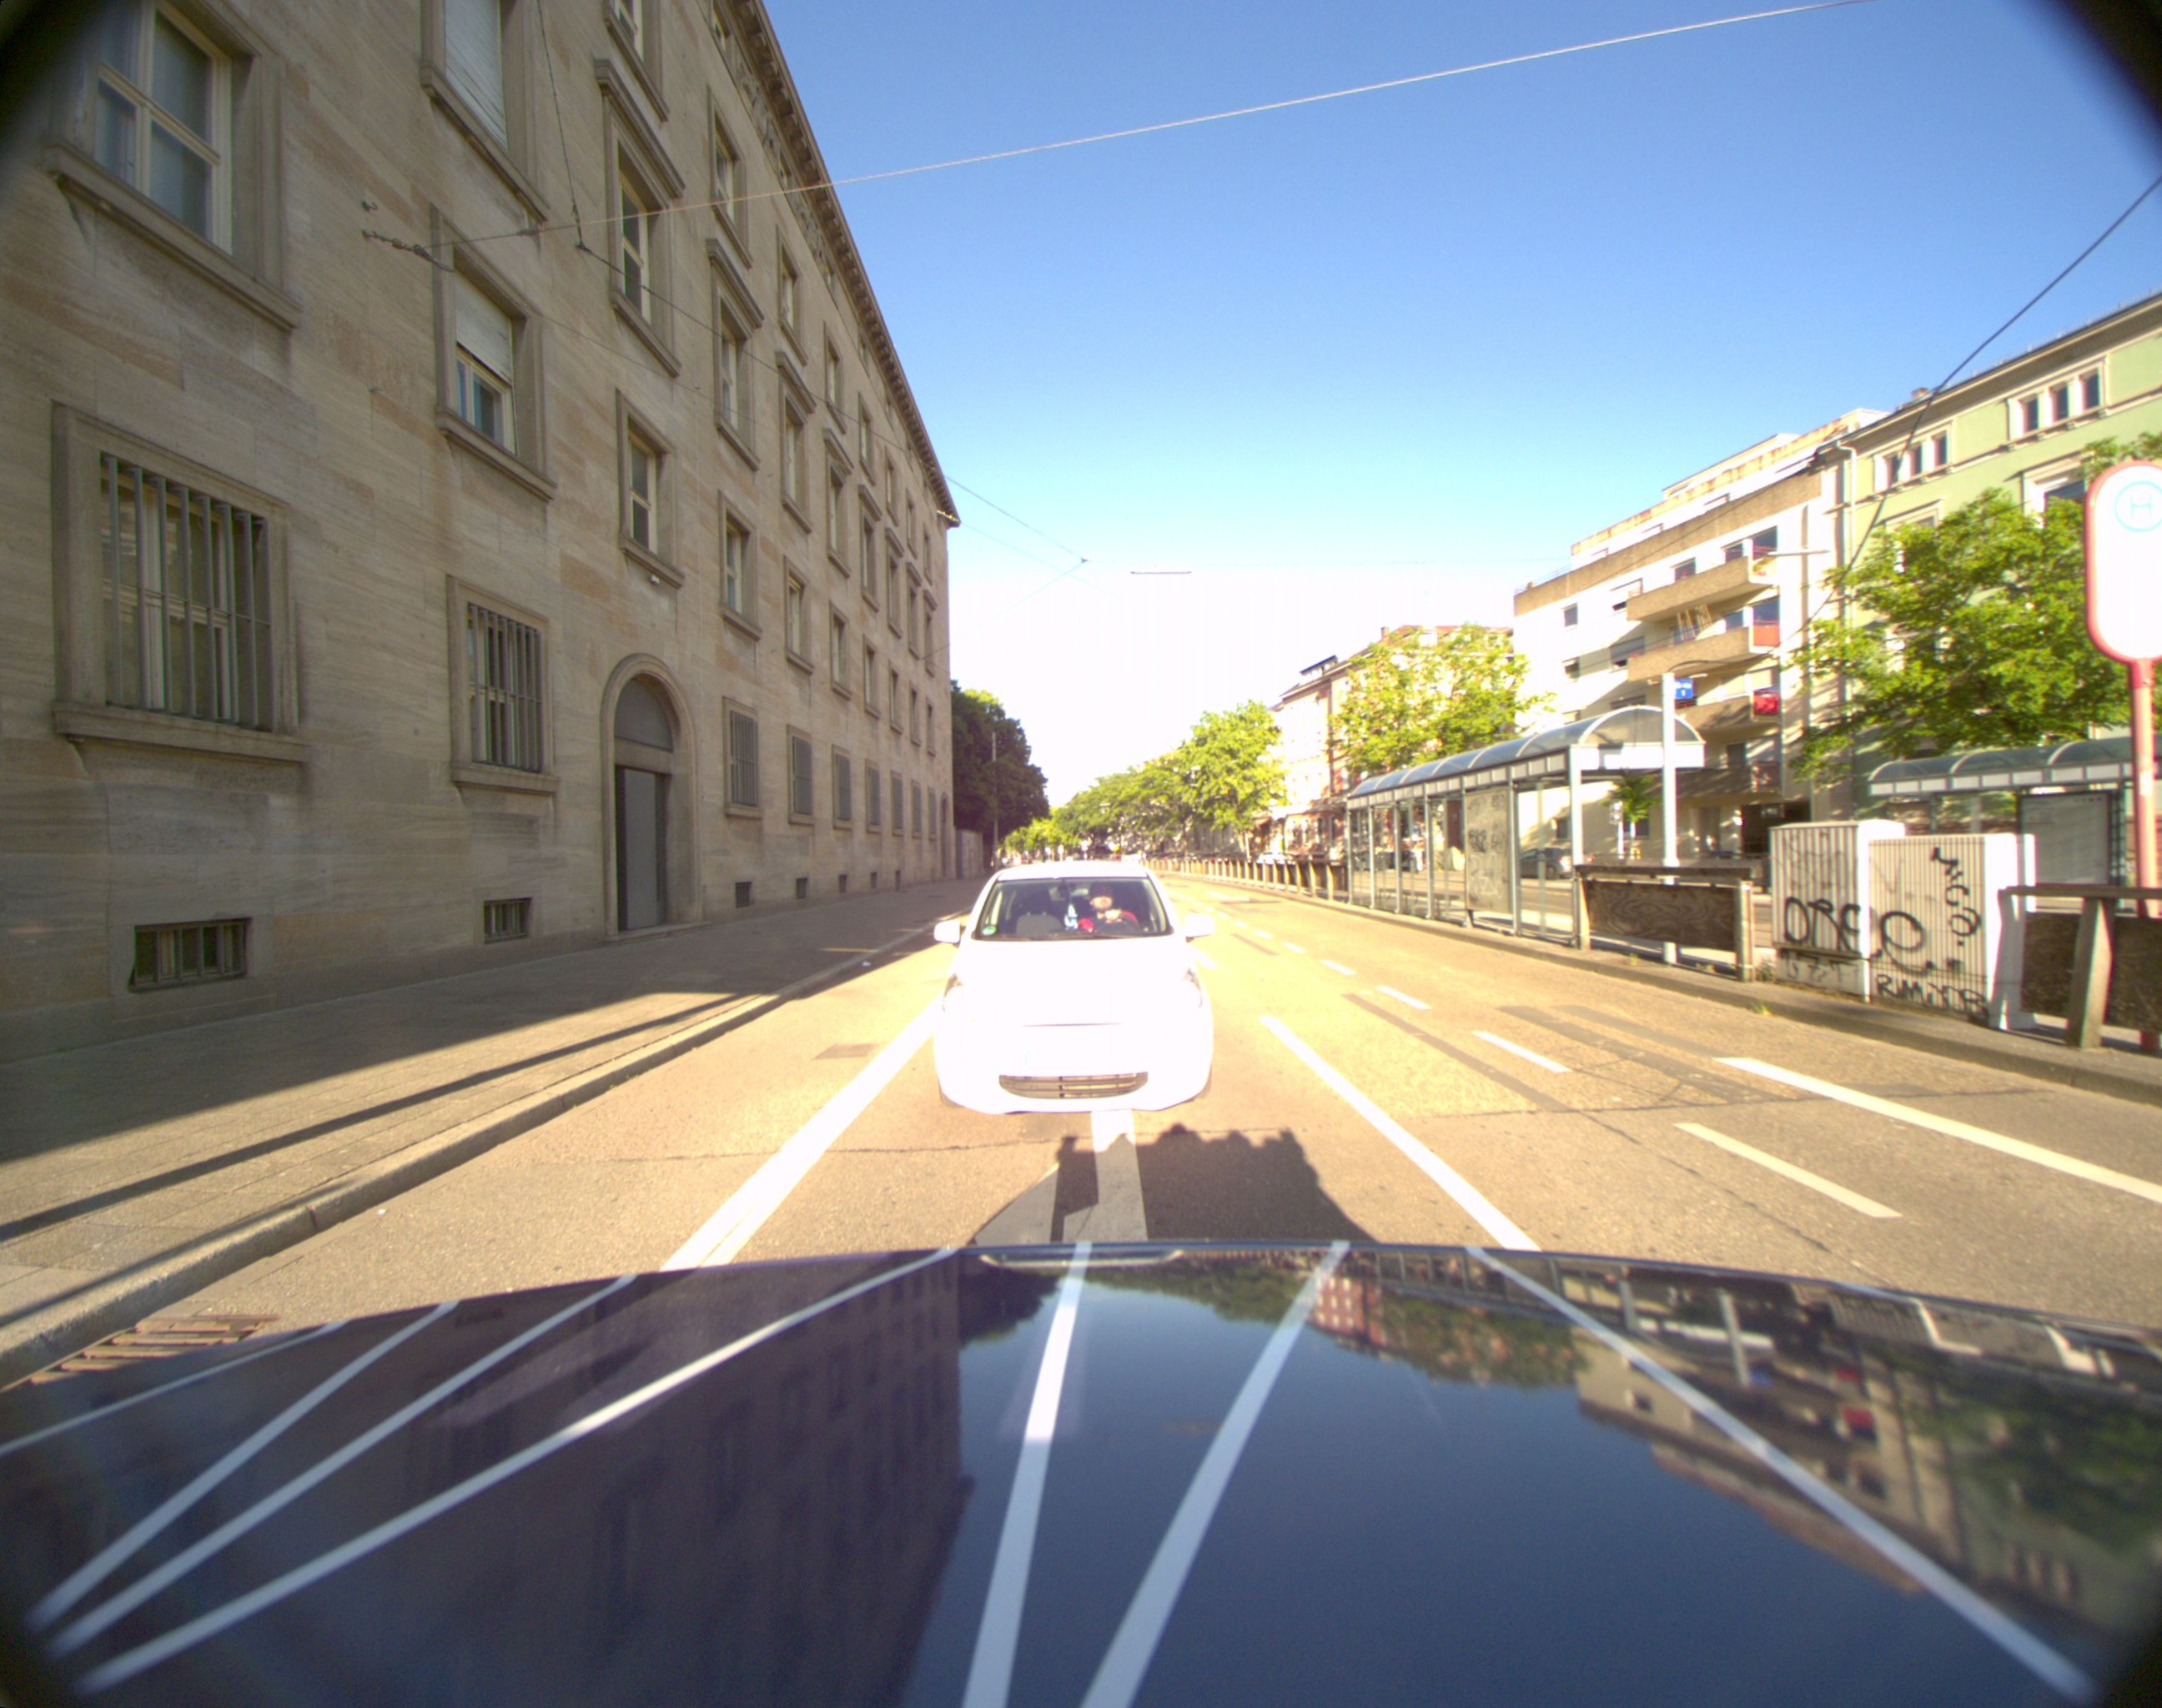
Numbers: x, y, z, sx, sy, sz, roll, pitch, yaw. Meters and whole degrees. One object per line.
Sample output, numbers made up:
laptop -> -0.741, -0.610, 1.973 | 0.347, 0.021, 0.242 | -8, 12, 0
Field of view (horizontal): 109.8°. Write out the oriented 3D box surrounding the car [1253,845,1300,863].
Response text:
car -> 16.285, -0.002, 63.263 | 3.648, 1.342, 1.578 | -2, 1, -29

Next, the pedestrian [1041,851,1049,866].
pedestrian -> -4.218, 0.537, 89.433 | 0.685, 1.673, 0.930 | -1, 1, 17

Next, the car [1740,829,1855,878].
car -> 31.574, -0.037, 33.511 | 4.001, 2.002, 1.798 | -1, 1, -13

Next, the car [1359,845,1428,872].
car -> 18.387, 0.253, 44.848 | 2.000, 1.521, 3.997 | -1, 0, -8

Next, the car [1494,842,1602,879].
car -> 20.802, 0.275, 34.047 | 2.000, 1.521, 3.997 | 0, 0, -8

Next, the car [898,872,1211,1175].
car -> -0.116, 0.938, 5.798 | 1.606, 1.455, 3.621 | -1, 0, 1
